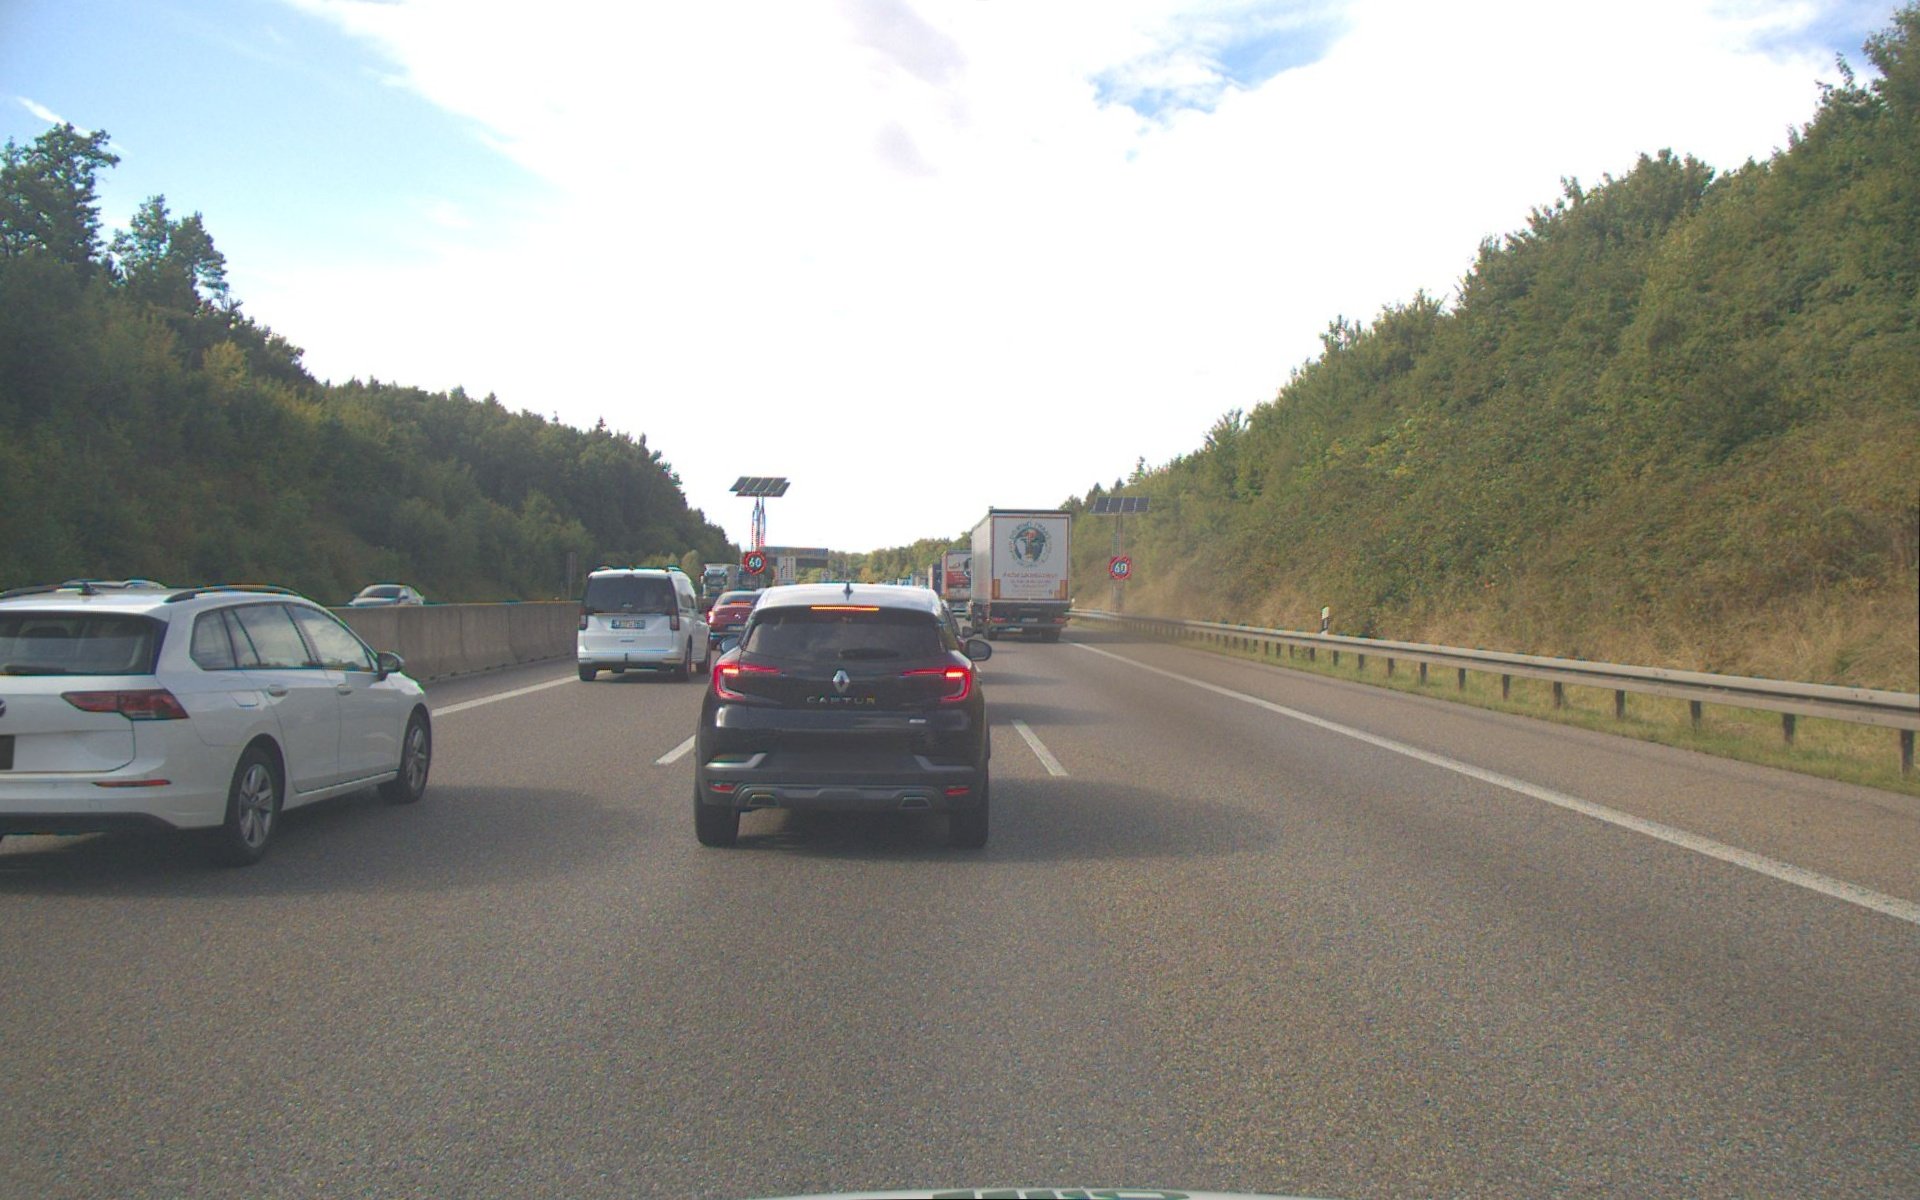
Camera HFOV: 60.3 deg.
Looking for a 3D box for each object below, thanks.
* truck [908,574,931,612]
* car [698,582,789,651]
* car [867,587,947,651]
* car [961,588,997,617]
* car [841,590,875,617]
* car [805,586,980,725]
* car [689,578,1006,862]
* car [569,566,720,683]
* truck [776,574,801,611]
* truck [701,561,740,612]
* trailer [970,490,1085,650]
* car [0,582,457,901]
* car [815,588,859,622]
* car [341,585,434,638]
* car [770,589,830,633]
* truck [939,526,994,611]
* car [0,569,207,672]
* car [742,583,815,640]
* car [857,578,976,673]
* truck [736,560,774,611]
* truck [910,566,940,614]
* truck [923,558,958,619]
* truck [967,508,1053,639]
[{"bbox_3d":[-5.748,-1.000,235.731,3.102,5.250,12.735,1,0,-1],"label":"truck"},{"bbox_3d":[-5.488,0.407,42.347,1.818,1.669,3.925,1,0,0],"label":"car"},{"bbox_3d":[-1.345,0.476,42.819,1.953,1.540,3.999,1,0,-1],"label":"car"},{"bbox_3d":[1.010,0.142,90.597,1.768,1.559,3.924,1,0,-2],"label":"car"},{"bbox_3d":[-6.463,0.199,105.113,1.953,1.641,3.999,1,0,-1],"label":"car"},{"bbox_3d":[-0.793,0.635,20.659,1.953,1.540,3.999,1,0,-1],"label":"car"},{"bbox_3d":[-0.595,0.667,11.246,1.767,1.579,4.000,0,0,1],"label":"car"},{"bbox_3d":[-5.292,0.390,28.291,1.873,1.821,4.415,1,0,-2],"label":"car"},{"bbox_3d":[-25.075,-1.085,241.950,2.832,5.182,10.077,1,0,-2],"label":"truck"},{"bbox_3d":[-25.244,-1.451,174.605,2.832,5.182,10.077,1,0,-2],"label":"truck"},{"bbox_3d":[2.064,-0.935,56.229,2.941,4.742,13.286,1,0,-2],"label":"trailer"},{"bbox_3d":[-4.549,0.667,9.898,1.768,1.486,4.308,0,0,0],"label":"car"},{"bbox_3d":[-6.048,0.237,81.760,1.953,1.641,3.999,1,0,-1],"label":"car"},{"bbox_3d":[-20.916,0.404,60.637,1.815,1.841,4.923,1,0,-2],"label":"car"},{"bbox_3d":[-6.147,0.418,63.934,1.953,1.641,3.999,1,0,-1],"label":"car"},{"bbox_3d":[0.333,-1.886,106.552,3.296,5.132,12.735,1,0,-1],"label":"truck"},{"bbox_3d":[-16.693,0.349,32.306,1.815,1.841,4.923,1,0,-2],"label":"car"},{"bbox_3d":[-5.829,0.377,53.638,1.953,1.752,3.999,1,0,-1],"label":"car"},{"bbox_3d":[-0.748,0.426,29.374,1.953,1.540,3.999,1,0,-1],"label":"car"},{"bbox_3d":[-20.971,-1.505,169.296,2.832,5.021,10.077,1,0,-2],"label":"truck"},{"bbox_3d":[-4.181,-1.113,201.448,3.101,5.601,12.738,1,0,1],"label":"truck"},{"bbox_3d":[-1.842,-1.033,158.874,3.102,5.601,12.735,1,0,-1],"label":"truck"},{"bbox_3d":[1.861,-0.989,63.604,2.936,4.749,5.937,0,0,-2],"label":"truck"}]
